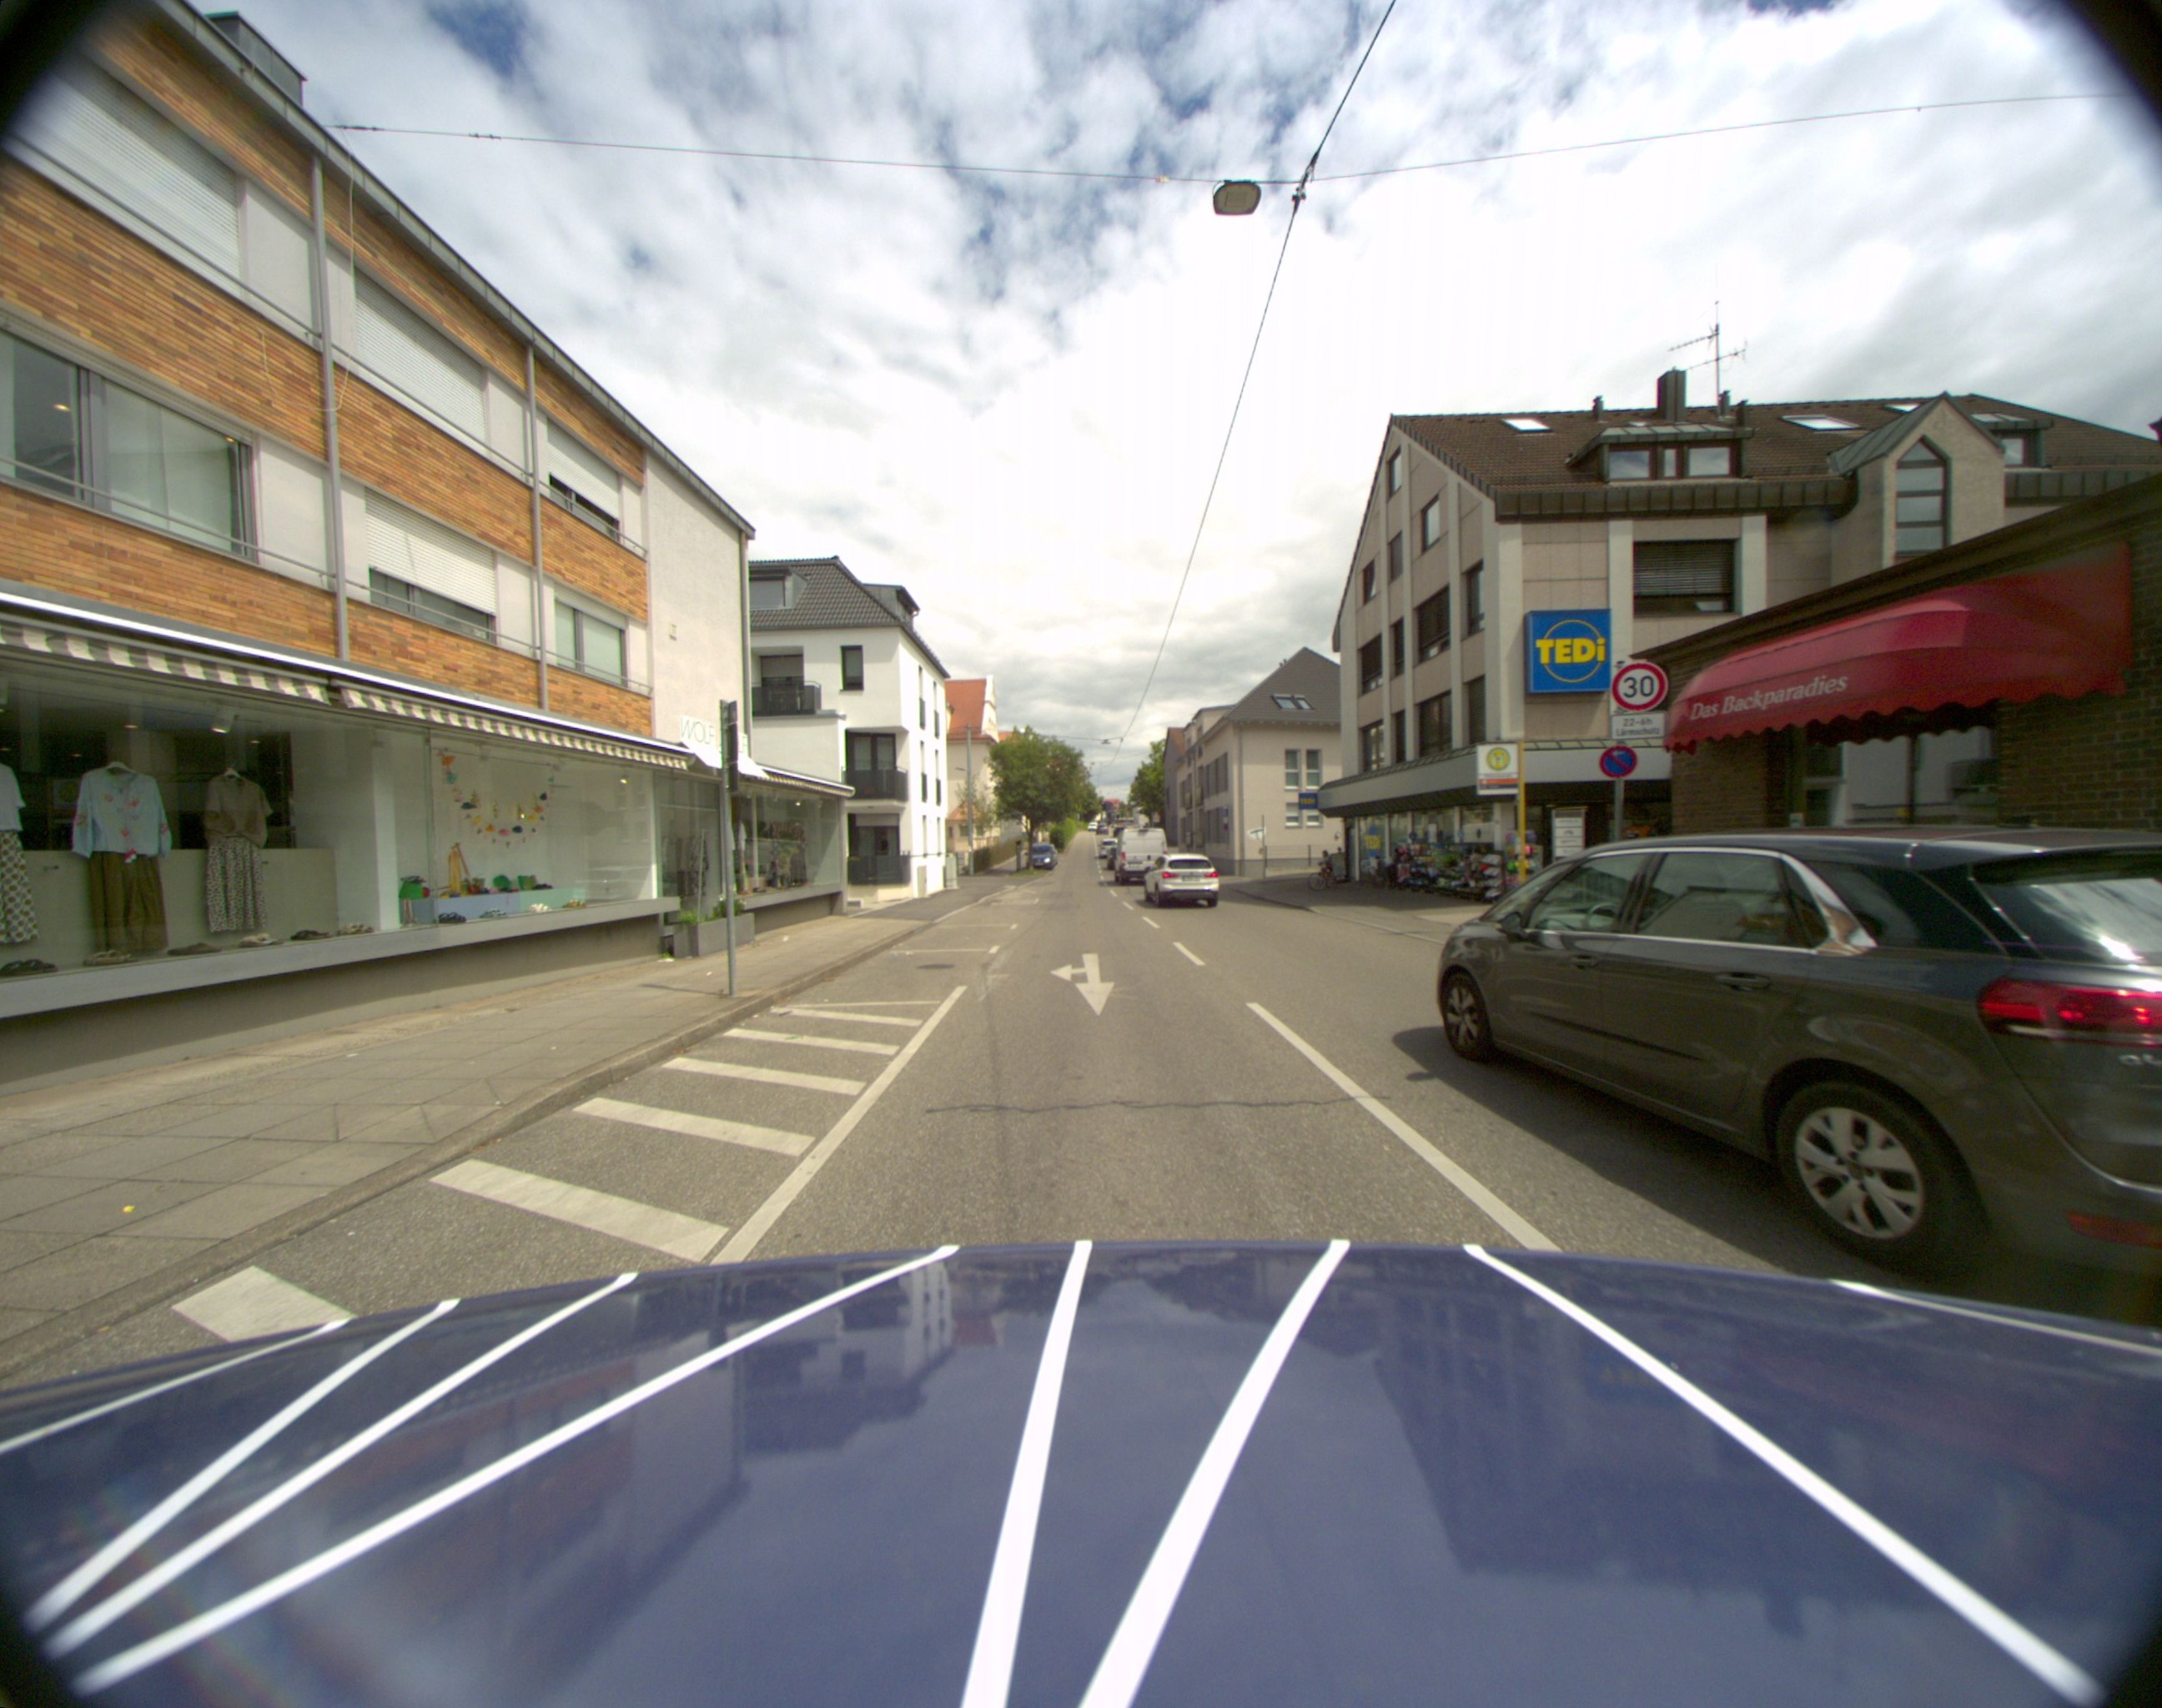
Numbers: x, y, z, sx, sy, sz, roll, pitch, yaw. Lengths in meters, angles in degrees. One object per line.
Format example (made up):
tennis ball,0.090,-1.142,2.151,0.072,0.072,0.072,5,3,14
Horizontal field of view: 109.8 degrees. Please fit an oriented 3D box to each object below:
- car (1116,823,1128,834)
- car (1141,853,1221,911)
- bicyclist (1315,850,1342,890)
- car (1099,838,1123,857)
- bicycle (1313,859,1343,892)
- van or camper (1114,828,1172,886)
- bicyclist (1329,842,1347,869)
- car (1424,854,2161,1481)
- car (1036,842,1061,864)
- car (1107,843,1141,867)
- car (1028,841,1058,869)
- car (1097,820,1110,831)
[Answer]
car,6.045,-3.850,113.155,1.673,1.546,3.963,0,4,1
car,3.050,0.798,23.980,1.785,1.630,4.218,0,1,-3
bicyclist,8.855,0.558,27.198,0.669,1.330,0.761,-5,2,0
car,2.524,-0.593,65.496,1.779,1.604,4.118,0,1,-2
bicycle,8.804,0.746,27.083,0.444,1.044,1.733,-5,2,0
van or camper,2.826,0.137,35.852,2.154,2.541,5.437,-1,0,-1
bicyclist,11.897,0.072,35.166,0.640,1.235,0.427,0,3,34
car,3.604,0.799,3.877,1.794,1.580,4.100,-1,0,-1
car,-2.425,-0.107,57.633,1.677,1.511,3.668,-1,2,1
car,2.773,0.045,49.809,1.796,1.502,3.843,-1,0,-3
car,-2.545,0.033,51.793,1.698,1.733,4.158,-1,2,1
car,3.705,-4.672,124.348,1.946,1.709,4.595,-1,1,0
